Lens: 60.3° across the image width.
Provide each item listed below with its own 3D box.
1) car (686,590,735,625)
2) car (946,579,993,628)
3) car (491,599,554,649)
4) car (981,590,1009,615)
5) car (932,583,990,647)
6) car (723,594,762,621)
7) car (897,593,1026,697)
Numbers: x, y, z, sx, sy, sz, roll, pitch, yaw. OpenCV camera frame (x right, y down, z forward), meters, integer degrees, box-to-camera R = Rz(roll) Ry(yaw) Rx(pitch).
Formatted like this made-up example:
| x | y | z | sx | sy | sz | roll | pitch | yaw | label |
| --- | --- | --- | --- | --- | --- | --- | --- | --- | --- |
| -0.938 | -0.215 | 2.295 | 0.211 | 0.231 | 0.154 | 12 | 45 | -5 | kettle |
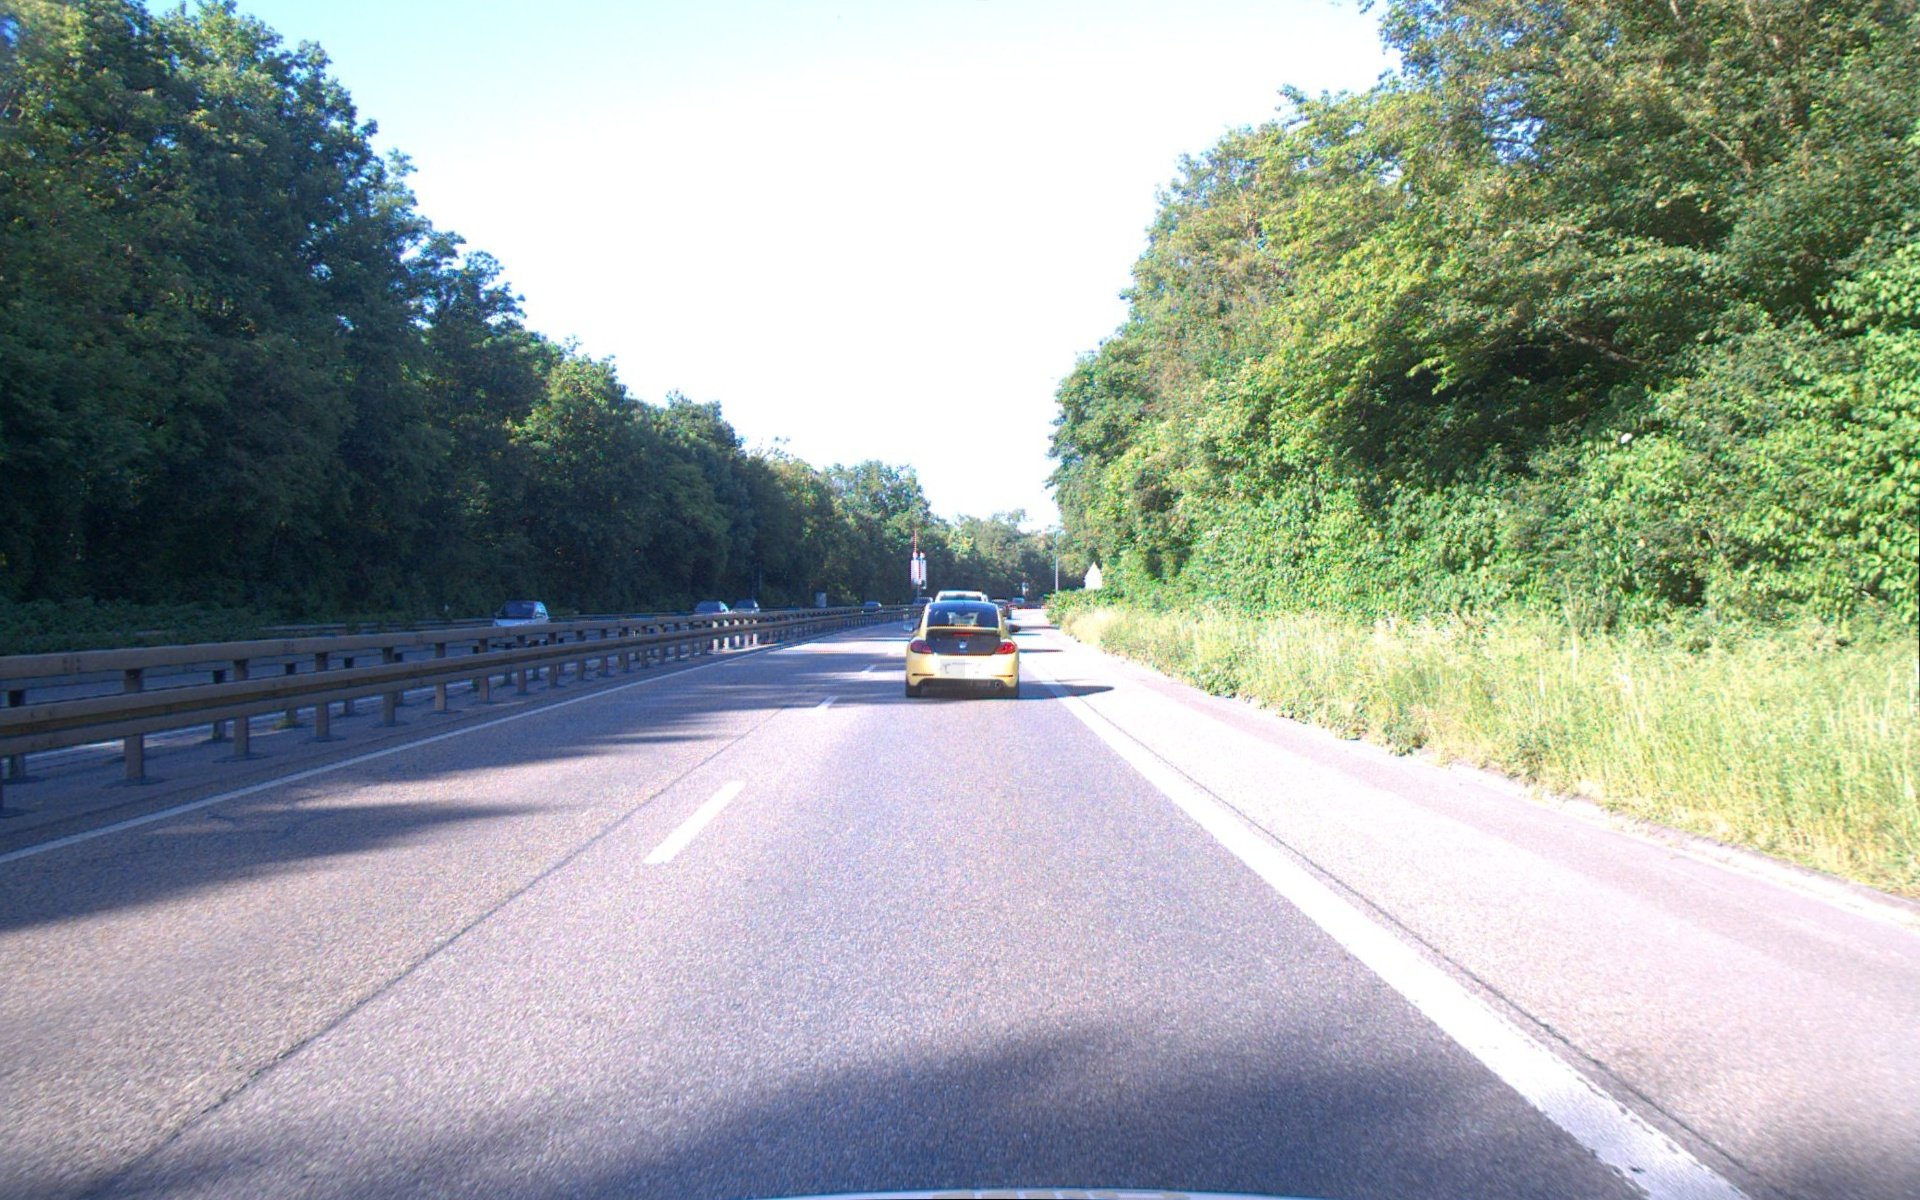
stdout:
| x | y | z | sx | sy | sz | roll | pitch | yaw | label |
| --- | --- | --- | --- | --- | --- | --- | --- | --- | --- |
| -13.619 | 0.393 | 90.570 | 1.953 | 1.780 | 4.550 | -2 | 0 | 0 | car |
| 0.429 | 0.154 | 74.286 | 1.953 | 2.049 | 4.000 | -2 | 0 | 0 | car |
| -14.884 | 0.798 | 56.410 | 1.385 | 1.648 | 2.875 | 0 | 0 | 0 | car |
| 2.741 | 0.206 | 130.735 | 2.217 | 1.908 | 5.076 | 0 | 0 | 0 | car |
| 0.040 | 0.441 | 50.331 | 1.706 | 1.862 | 3.422 | 1 | 0 | 0 | car |
| -13.942 | 0.452 | 106.254 | 1.953 | 1.612 | 4.000 | -2 | 0 | 0 | car |
| 0.052 | 0.664 | 26.258 | 1.899 | 1.534 | 3.423 | 0 | 0 | 1 | car |
